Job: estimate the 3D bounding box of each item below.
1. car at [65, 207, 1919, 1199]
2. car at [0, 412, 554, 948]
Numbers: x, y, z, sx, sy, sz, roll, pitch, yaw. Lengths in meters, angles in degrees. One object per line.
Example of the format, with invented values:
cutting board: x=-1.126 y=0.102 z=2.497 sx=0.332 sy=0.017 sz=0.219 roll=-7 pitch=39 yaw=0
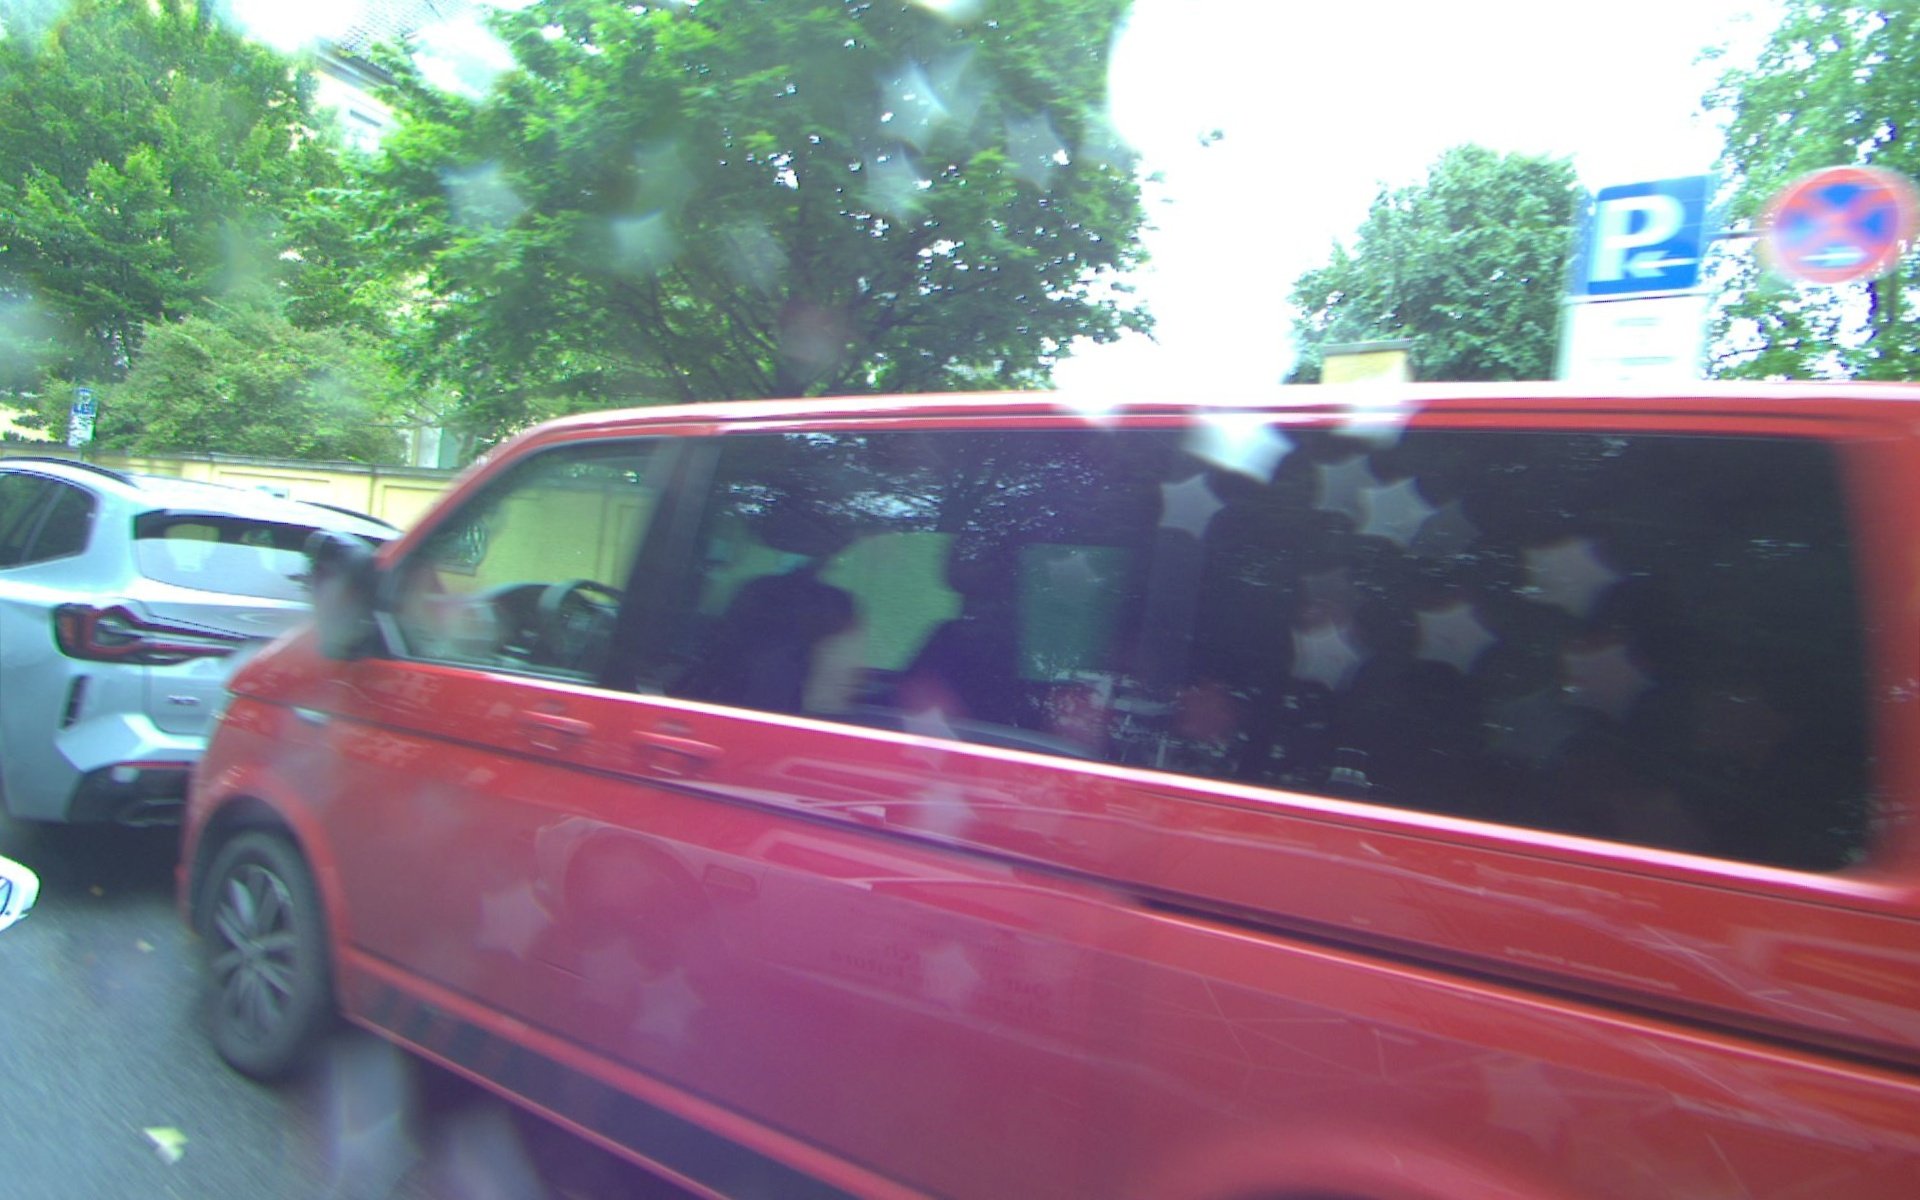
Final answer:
car: x=-0.020 y=0.500 z=2.713 sx=5.353 sy=1.991 sz=1.862 roll=5 pitch=-1 yaw=30
car: x=-4.480 y=0.132 z=5.240 sx=4.525 sy=1.762 sz=1.863 roll=6 pitch=-1 yaw=30
